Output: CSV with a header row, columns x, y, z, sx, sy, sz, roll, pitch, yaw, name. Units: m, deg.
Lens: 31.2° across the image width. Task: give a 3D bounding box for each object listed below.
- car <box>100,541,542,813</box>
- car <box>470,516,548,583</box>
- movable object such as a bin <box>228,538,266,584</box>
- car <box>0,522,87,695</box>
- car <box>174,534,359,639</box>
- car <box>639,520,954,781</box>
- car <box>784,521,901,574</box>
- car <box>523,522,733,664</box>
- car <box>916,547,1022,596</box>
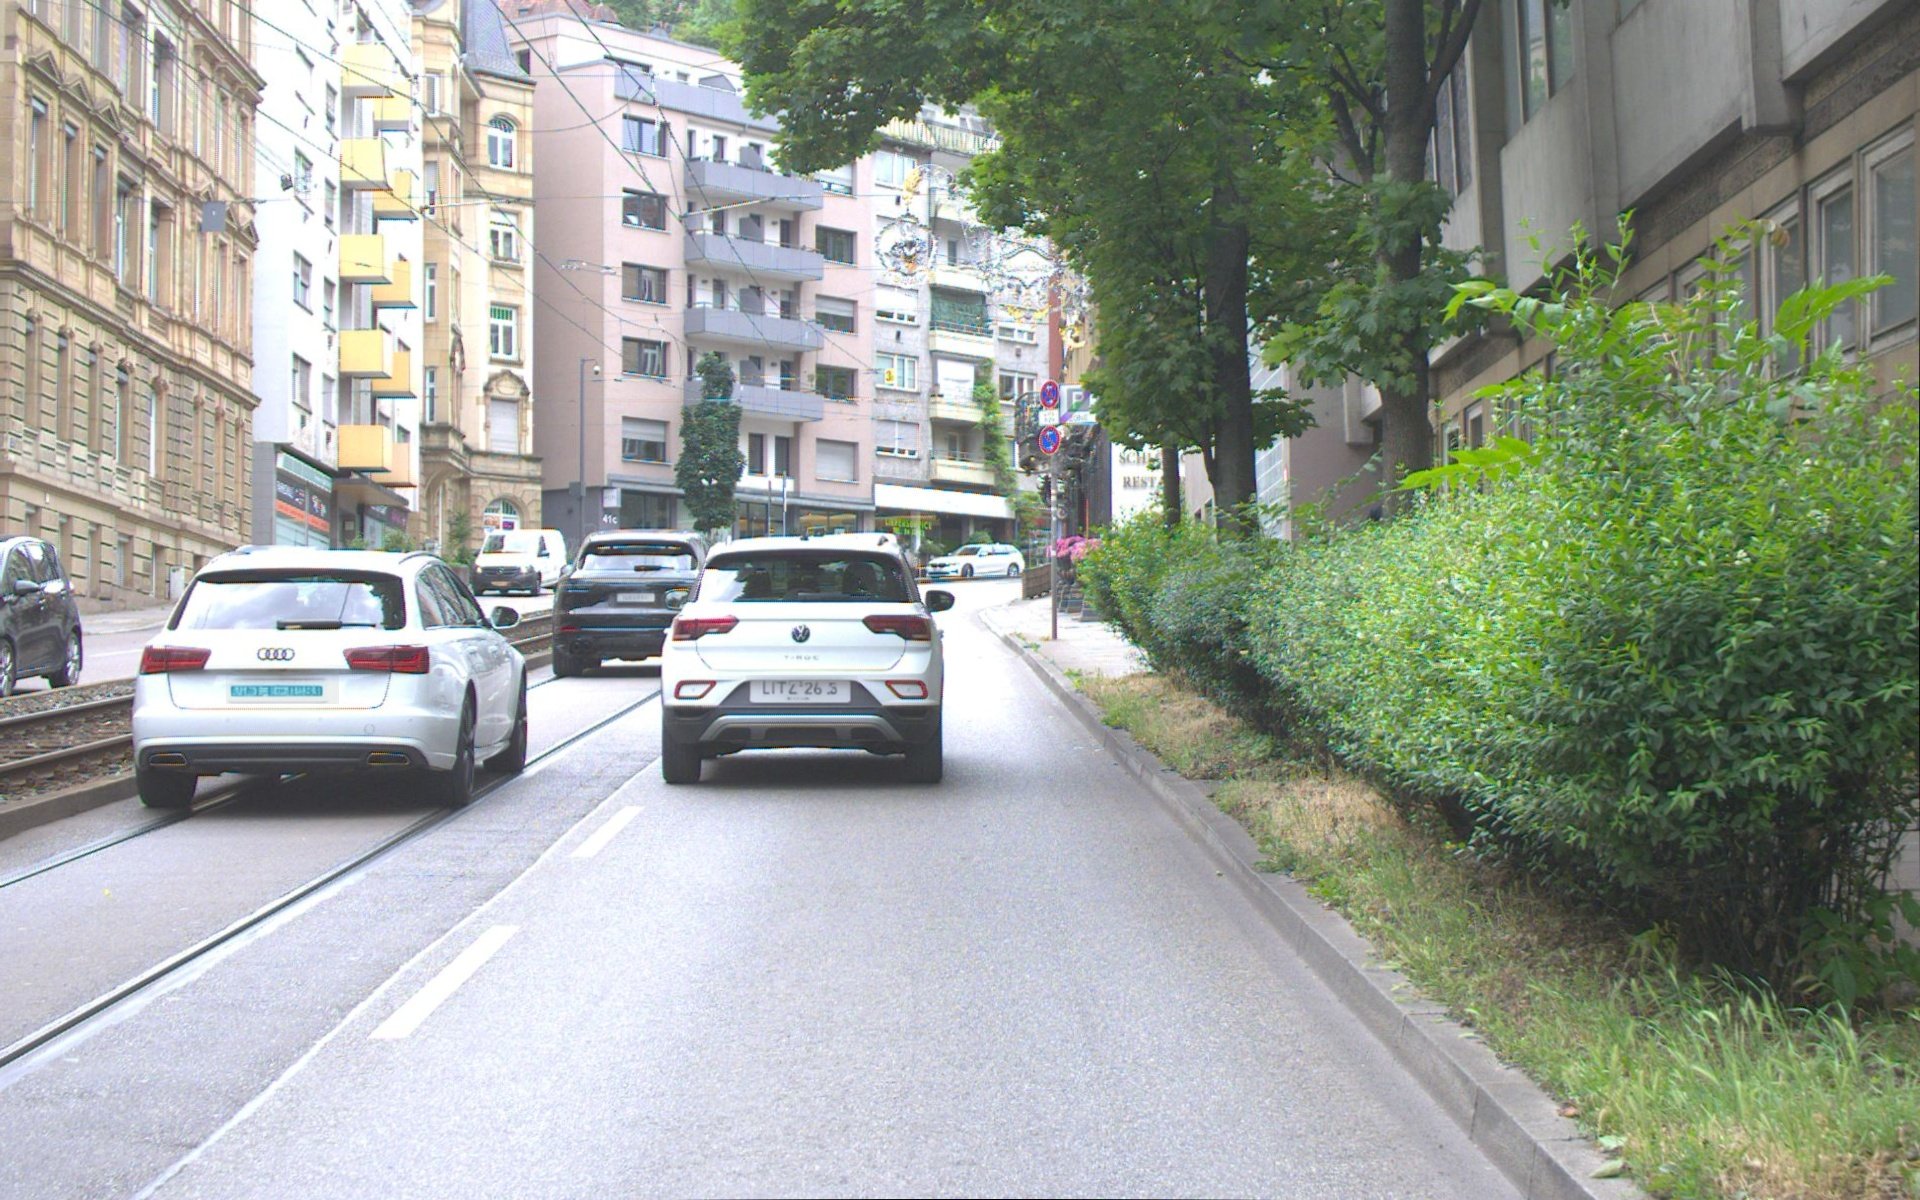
x,y,z,sx,sy,sz,roll,pitch,yaw,name
-3.703,0.375,20.729,1.879,1.450,4.618,0,1,-1,car
-13.133,-1.491,100.413,1.957,1.894,5.319,0,1,-4,car
-16.742,-0.928,80.739,0.770,1.070,0.561,0,1,0,movable object such as a bin
-9.743,0.046,33.056,1.743,1.590,3.969,0,1,-1,car
-10.113,-0.236,50.459,1.843,1.450,4.661,0,1,-1,car
-1.059,0.287,22.799,1.878,1.549,4.000,1,1,-2,car
-4.519,-2.033,133.061,1.998,2.028,4.691,1,1,38,car
-3.811,-0.124,40.182,2.038,1.566,4.358,0,1,0,car
0.378,-1.174,138.467,1.908,1.916,4.425,1,1,38,car
